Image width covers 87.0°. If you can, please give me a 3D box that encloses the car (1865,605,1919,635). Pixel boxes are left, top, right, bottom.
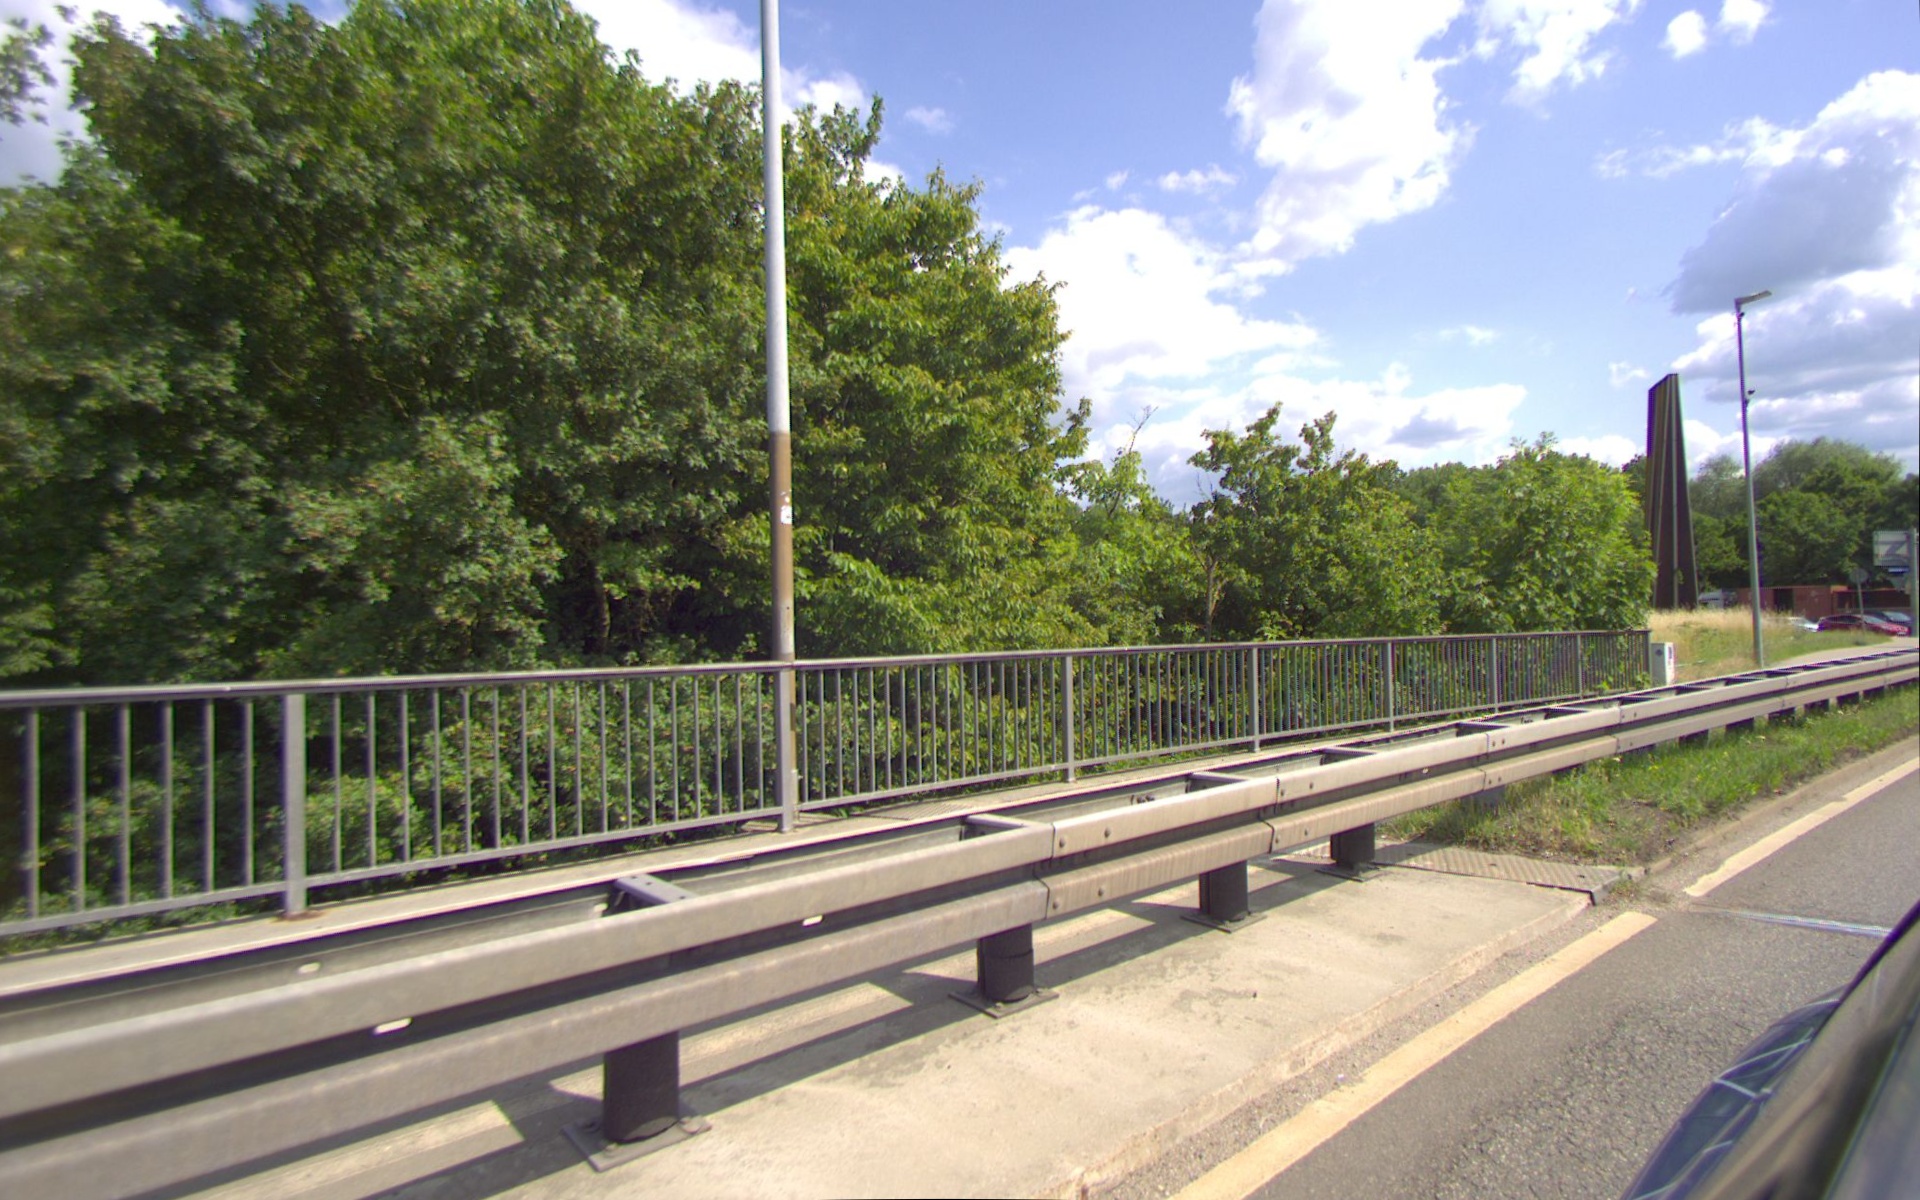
[{"bbox_3d":[54.204,1.137,57.368,1.801,1.667,4.218,1,-1,-5],"label":"car"}]

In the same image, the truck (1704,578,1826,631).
[{"bbox_3d":[61.939,0.381,78.056,2.721,3.895,6.830,1,-1,-25],"label":"truck"}]

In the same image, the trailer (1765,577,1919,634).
[{"bbox_3d":[64.995,0.390,71.873,2.723,3.899,12.339,1,-1,-25],"label":"trailer"}]

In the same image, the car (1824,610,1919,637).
[{"bbox_3d":[50.226,1.293,55.544,1.724,1.393,4.218,1,-1,-5],"label":"car"}]

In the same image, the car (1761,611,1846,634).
[{"bbox_3d":[53.265,1.407,64.010,1.613,1.393,4.218,1,-1,-5],"label":"car"}]
